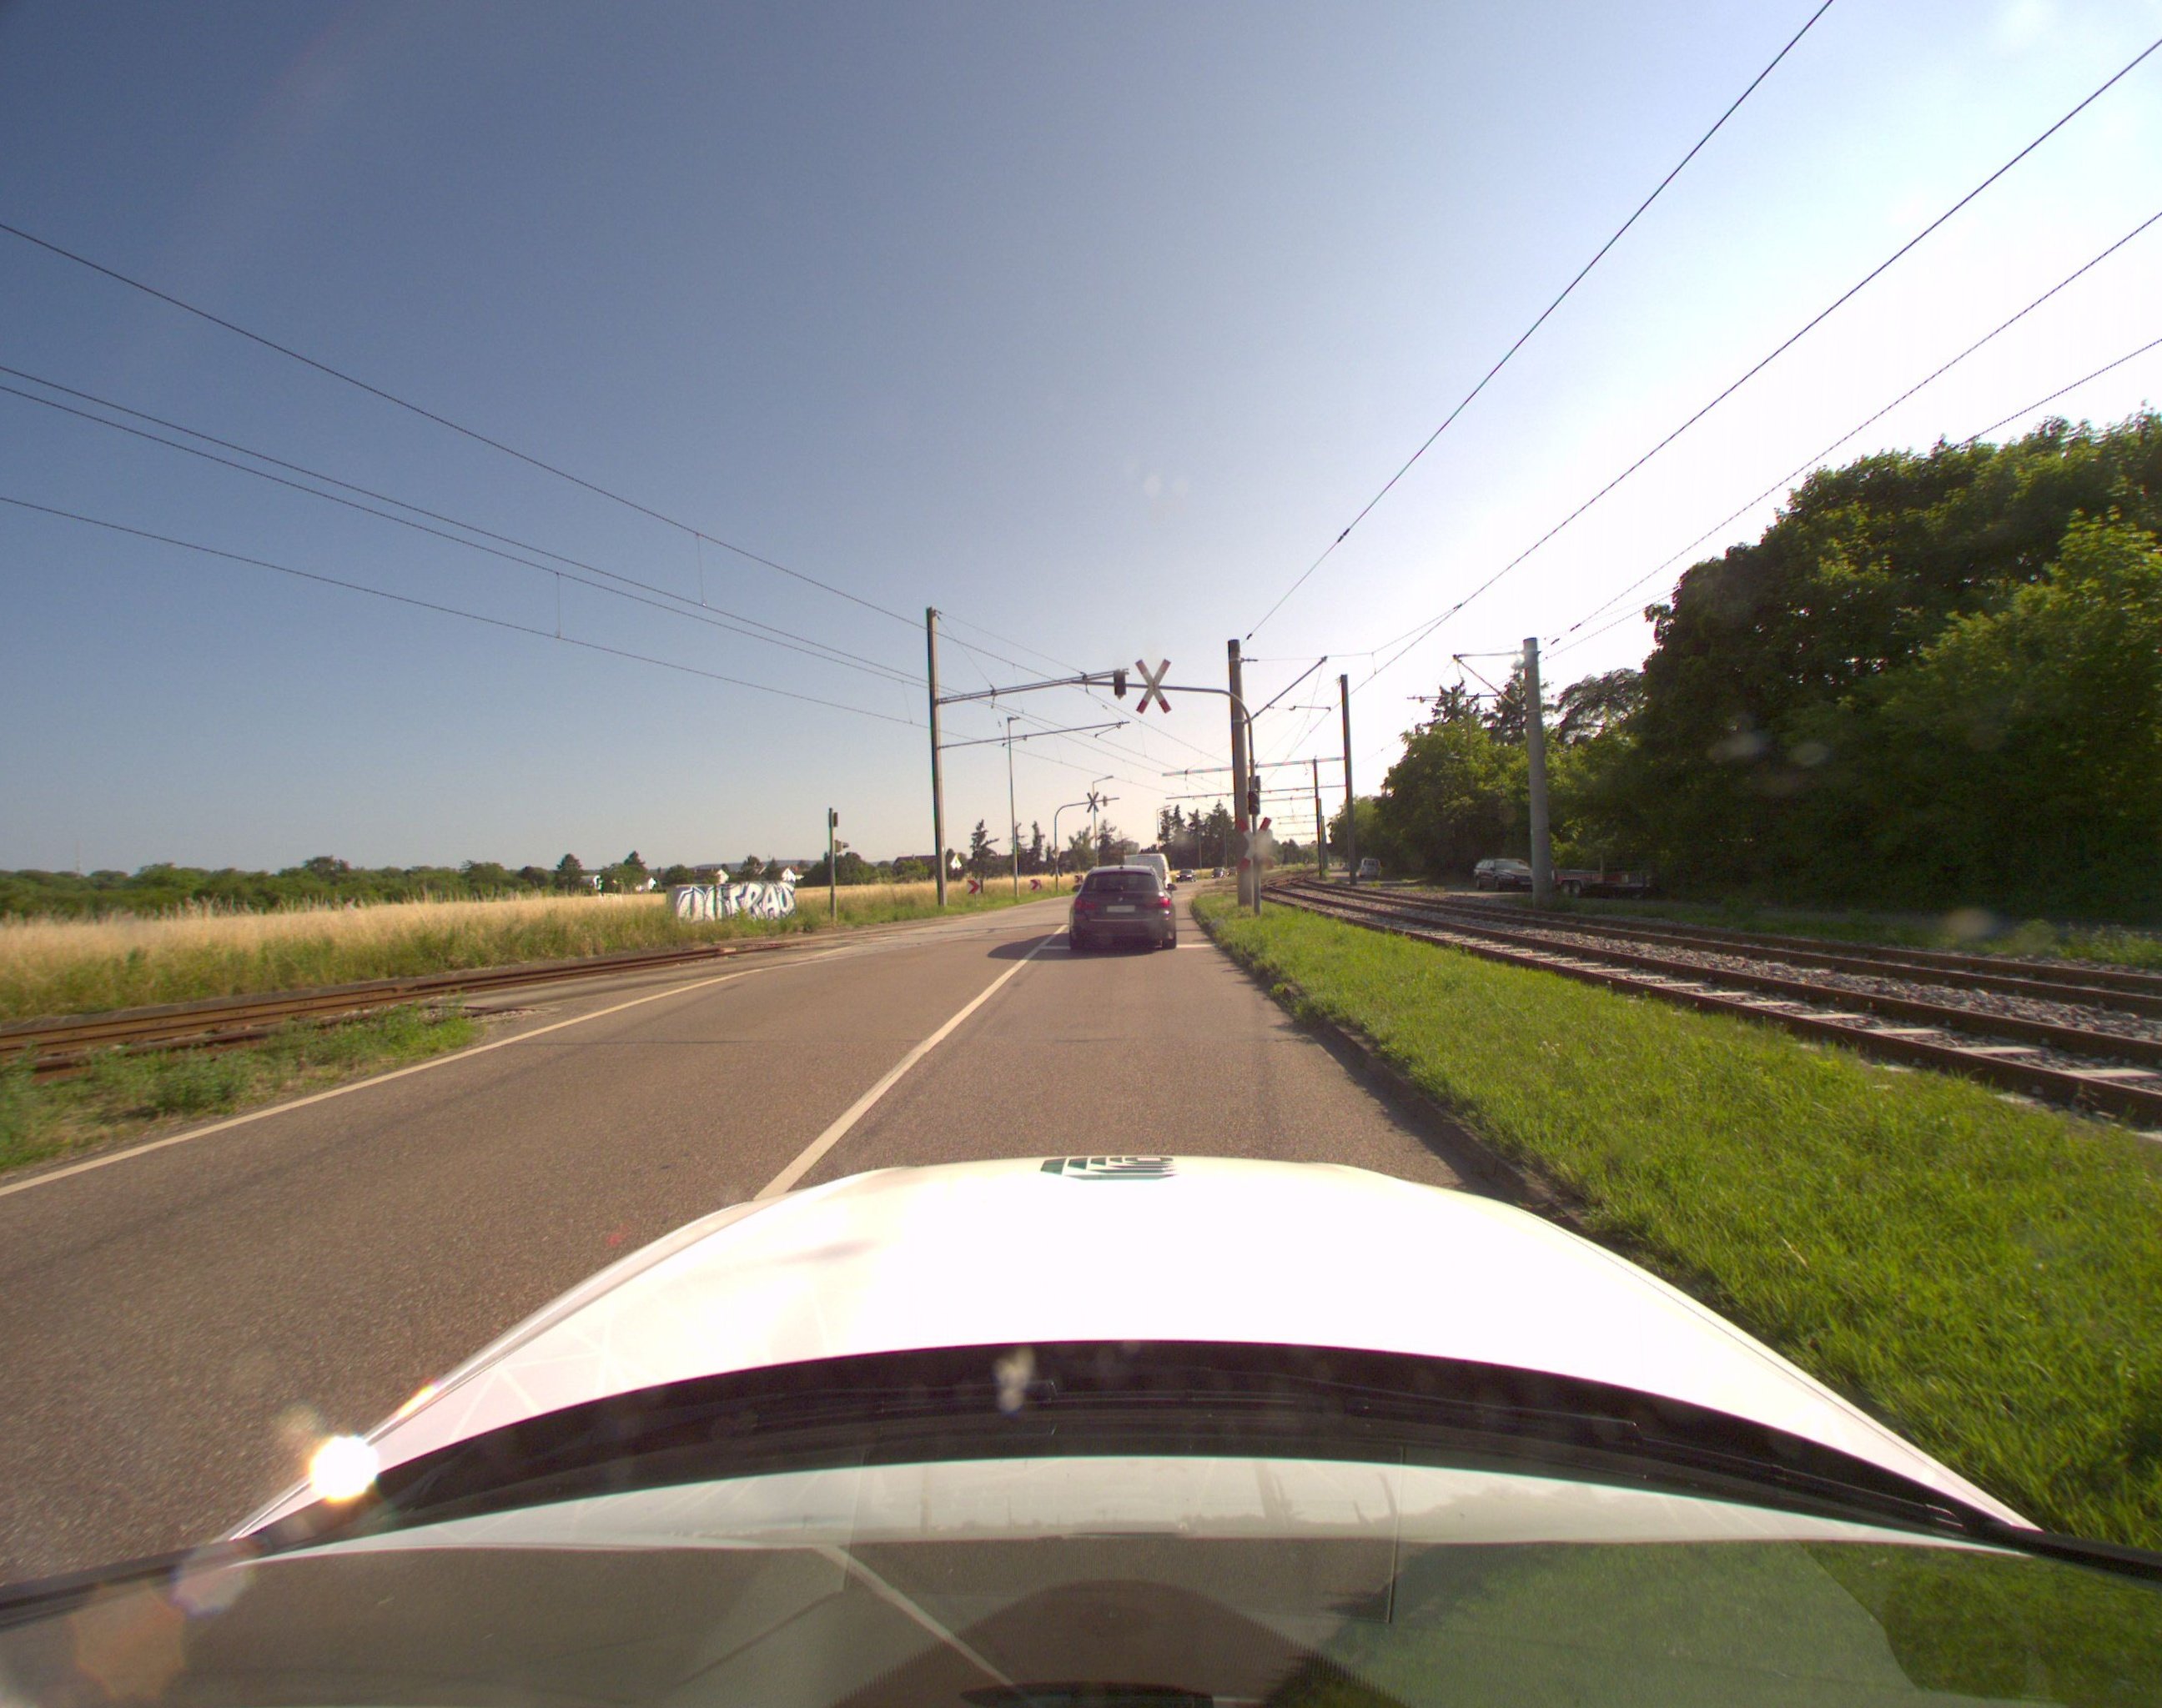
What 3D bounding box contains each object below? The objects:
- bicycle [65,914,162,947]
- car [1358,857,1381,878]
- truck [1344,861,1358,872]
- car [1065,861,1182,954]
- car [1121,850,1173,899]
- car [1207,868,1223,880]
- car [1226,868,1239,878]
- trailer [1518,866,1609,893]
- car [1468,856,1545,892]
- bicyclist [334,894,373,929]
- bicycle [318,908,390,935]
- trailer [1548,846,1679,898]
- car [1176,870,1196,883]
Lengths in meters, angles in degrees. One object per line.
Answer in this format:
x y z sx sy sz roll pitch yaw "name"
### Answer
-28.847 2.271 24.317 0.607 0.839 1.746 -2 -2 23 "bicycle"
29.687 1.380 83.860 1.978 2.004 5.088 0 -1 16 "car"
51.812 2.402 156.399 2.187 1.819 5.954 -2 -2 16 "truck"
0.786 0.886 15.580 1.862 1.452 4.746 -1 -1 2 "car"
3.041 0.898 36.408 1.846 1.988 5.121 -2 -1 9 "car"
20.167 3.036 122.206 1.693 1.665 4.609 -2 -1 16 "car"
25.287 3.102 135.847 1.700 1.549 3.944 -2 -1 16 "car"
18.409 0.944 31.256 1.721 0.939 3.736 1 -1 8 "trailer"
18.776 0.838 36.156 1.688 1.456 4.894 0 -1 10 "car"
-25.799 2.032 28.893 0.739 1.205 0.794 -2 -2 23 "bicyclist"
-25.770 2.371 28.913 0.743 0.839 1.746 -2 -2 23 "bicycle"
17.645 0.589 27.274 2.015 1.596 4.268 0 -1 7 "trailer"
11.791 2.520 91.348 1.681 1.440 4.299 -1 -1 14 "car"
